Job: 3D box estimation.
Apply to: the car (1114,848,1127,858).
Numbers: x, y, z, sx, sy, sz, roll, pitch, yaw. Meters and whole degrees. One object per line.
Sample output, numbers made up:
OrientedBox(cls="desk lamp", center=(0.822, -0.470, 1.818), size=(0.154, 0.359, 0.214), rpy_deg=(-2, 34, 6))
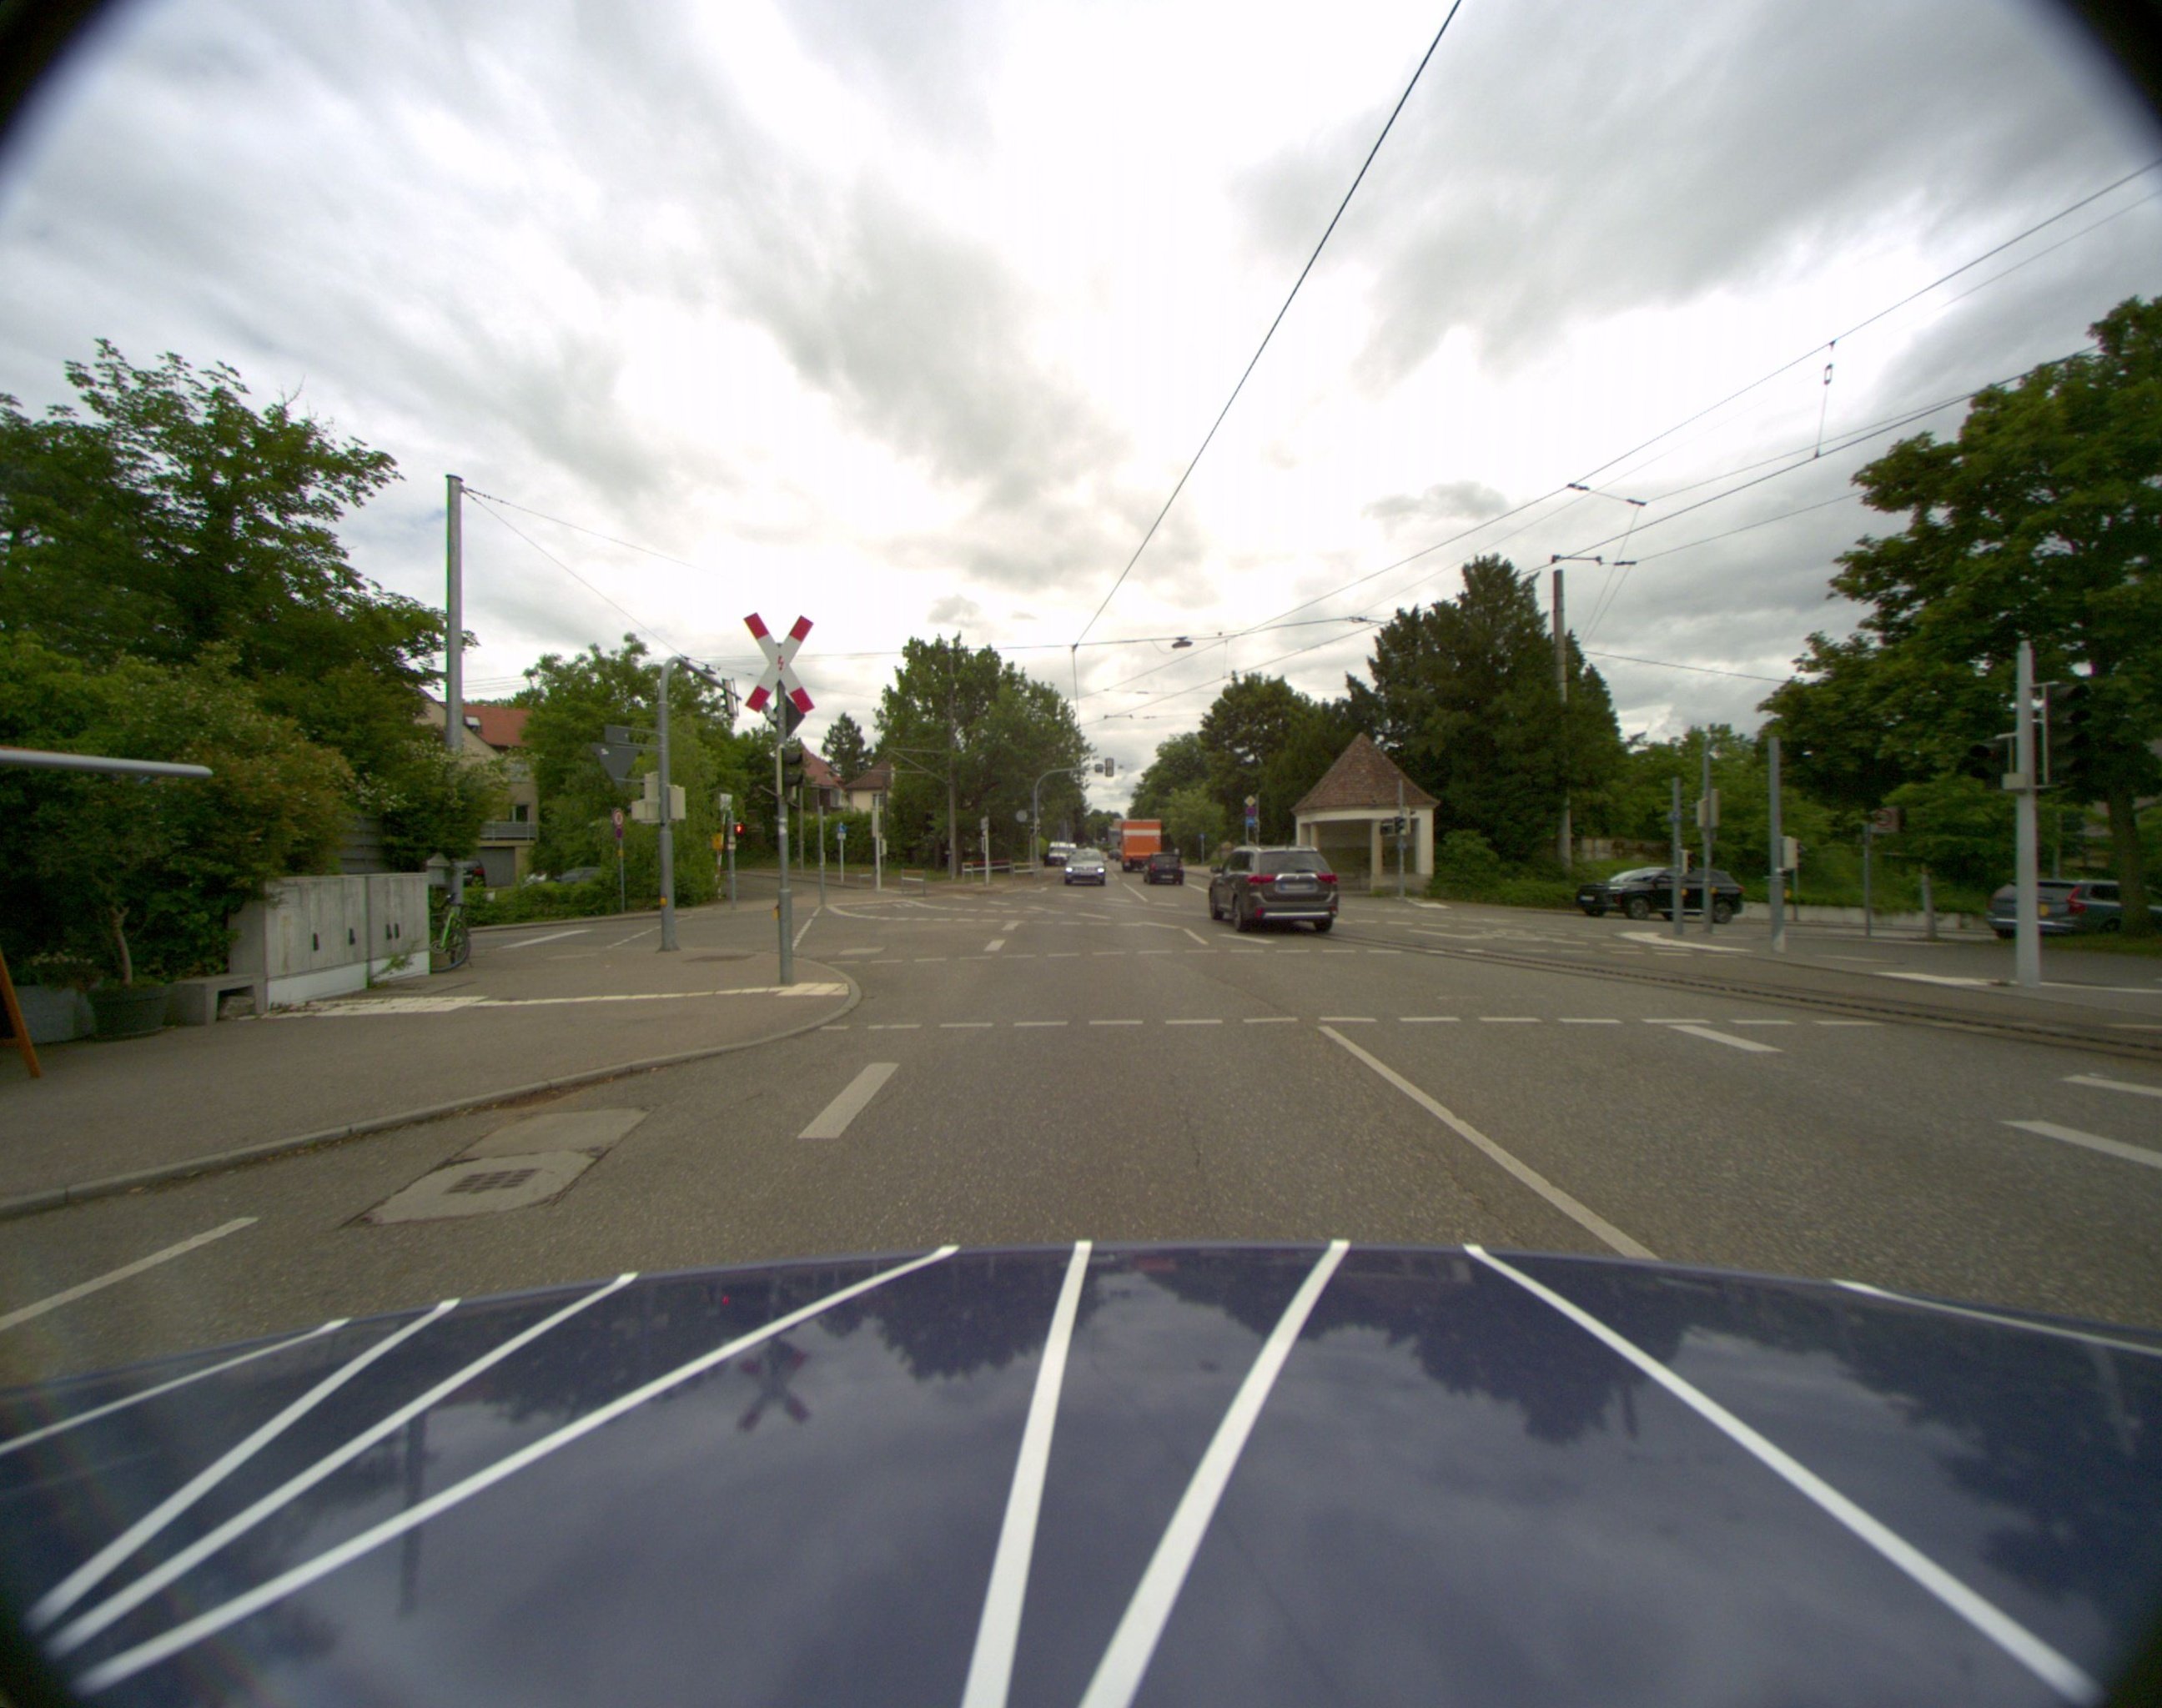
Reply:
OrientedBox(cls="car", center=(6.227, -0.143, 119.557), size=(1.944, 1.522, 4.526), rpy_deg=(1, 1, 1))

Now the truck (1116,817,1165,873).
OrientedBox(cls="truck", center=(4.224, -0.650, 55.788), size=(2.776, 3.697, 8.467), rpy_deg=(1, 1, 0))

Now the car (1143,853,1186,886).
OrientedBox(cls="car", center=(4.039, 0.737, 37.299), size=(1.679, 1.497, 3.733), rpy_deg=(1, 0, 0))

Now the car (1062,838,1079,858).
OrientedBox(cls="car", center=(-1.370, -0.832, 99.745), size=(2.046, 2.588, 5.966), rpy_deg=(0, 1, 1))

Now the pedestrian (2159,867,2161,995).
OrientedBox(cls="pedestrian", center=(14.144, 0.980, 9.312), size=(0.677, 1.634, 0.819), rpy_deg=(0, -1, -4))

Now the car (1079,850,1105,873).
OrientedBox(cls="car", center=(0.879, 0.523, 59.315), size=(1.834, 1.610, 4.488), rpy_deg=(-3, 1, 1))

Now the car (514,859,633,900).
OrientedBox(cls="car", center=(-24.761, 1.181, 37.278), size=(4.474, 1.857, 1.996), rpy_deg=(-1, 0, -21))

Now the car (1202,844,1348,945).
OrientedBox(cls="car", center=(3.804, 0.695, 15.746), size=(1.835, 1.660, 4.488), rpy_deg=(-4, 1, 1))

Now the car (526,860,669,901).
OrientedBox(cls="car", center=(-19.799, 1.054, 31.275), size=(4.517, 1.455, 1.999), rpy_deg=(-2, 1, -4))

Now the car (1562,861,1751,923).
OrientedBox(cls="car", center=(17.752, 1.151, 23.561), size=(4.487, 1.660, 1.964), rpy_deg=(2, 0, -6))

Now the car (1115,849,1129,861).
OrientedBox(cls="car", center=(5.305, 0.100, 98.679), size=(1.668, 1.440, 3.827), rpy_deg=(-1, 1, 1))

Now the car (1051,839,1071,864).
OrientedBox(cls="car", center=(-2.173, -0.302, 82.479), size=(2.095, 2.589, 6.680), rpy_deg=(0, 1, -1))

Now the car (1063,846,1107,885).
OrientedBox(cls="car", center=(0.119, 0.483, 35.519), size=(1.835, 1.610, 4.486), rpy_deg=(-3, 1, -2))

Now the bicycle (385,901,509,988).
OrientedBox(cls="bicycle", center=(-9.252, 1.276, 11.178), size=(0.550, 1.132, 1.877), rpy_deg=(-2, -3, -11))

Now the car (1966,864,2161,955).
OrientedBox(cls="car", center=(25.660, 1.394, 19.190), size=(4.468, 2.002, 1.999), rpy_deg=(3, 0, -5))

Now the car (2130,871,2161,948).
OrientedBox(cls="car", center=(30.890, 1.530, 19.880), size=(4.468, 2.002, 1.999), rpy_deg=(1, 1, -5))
